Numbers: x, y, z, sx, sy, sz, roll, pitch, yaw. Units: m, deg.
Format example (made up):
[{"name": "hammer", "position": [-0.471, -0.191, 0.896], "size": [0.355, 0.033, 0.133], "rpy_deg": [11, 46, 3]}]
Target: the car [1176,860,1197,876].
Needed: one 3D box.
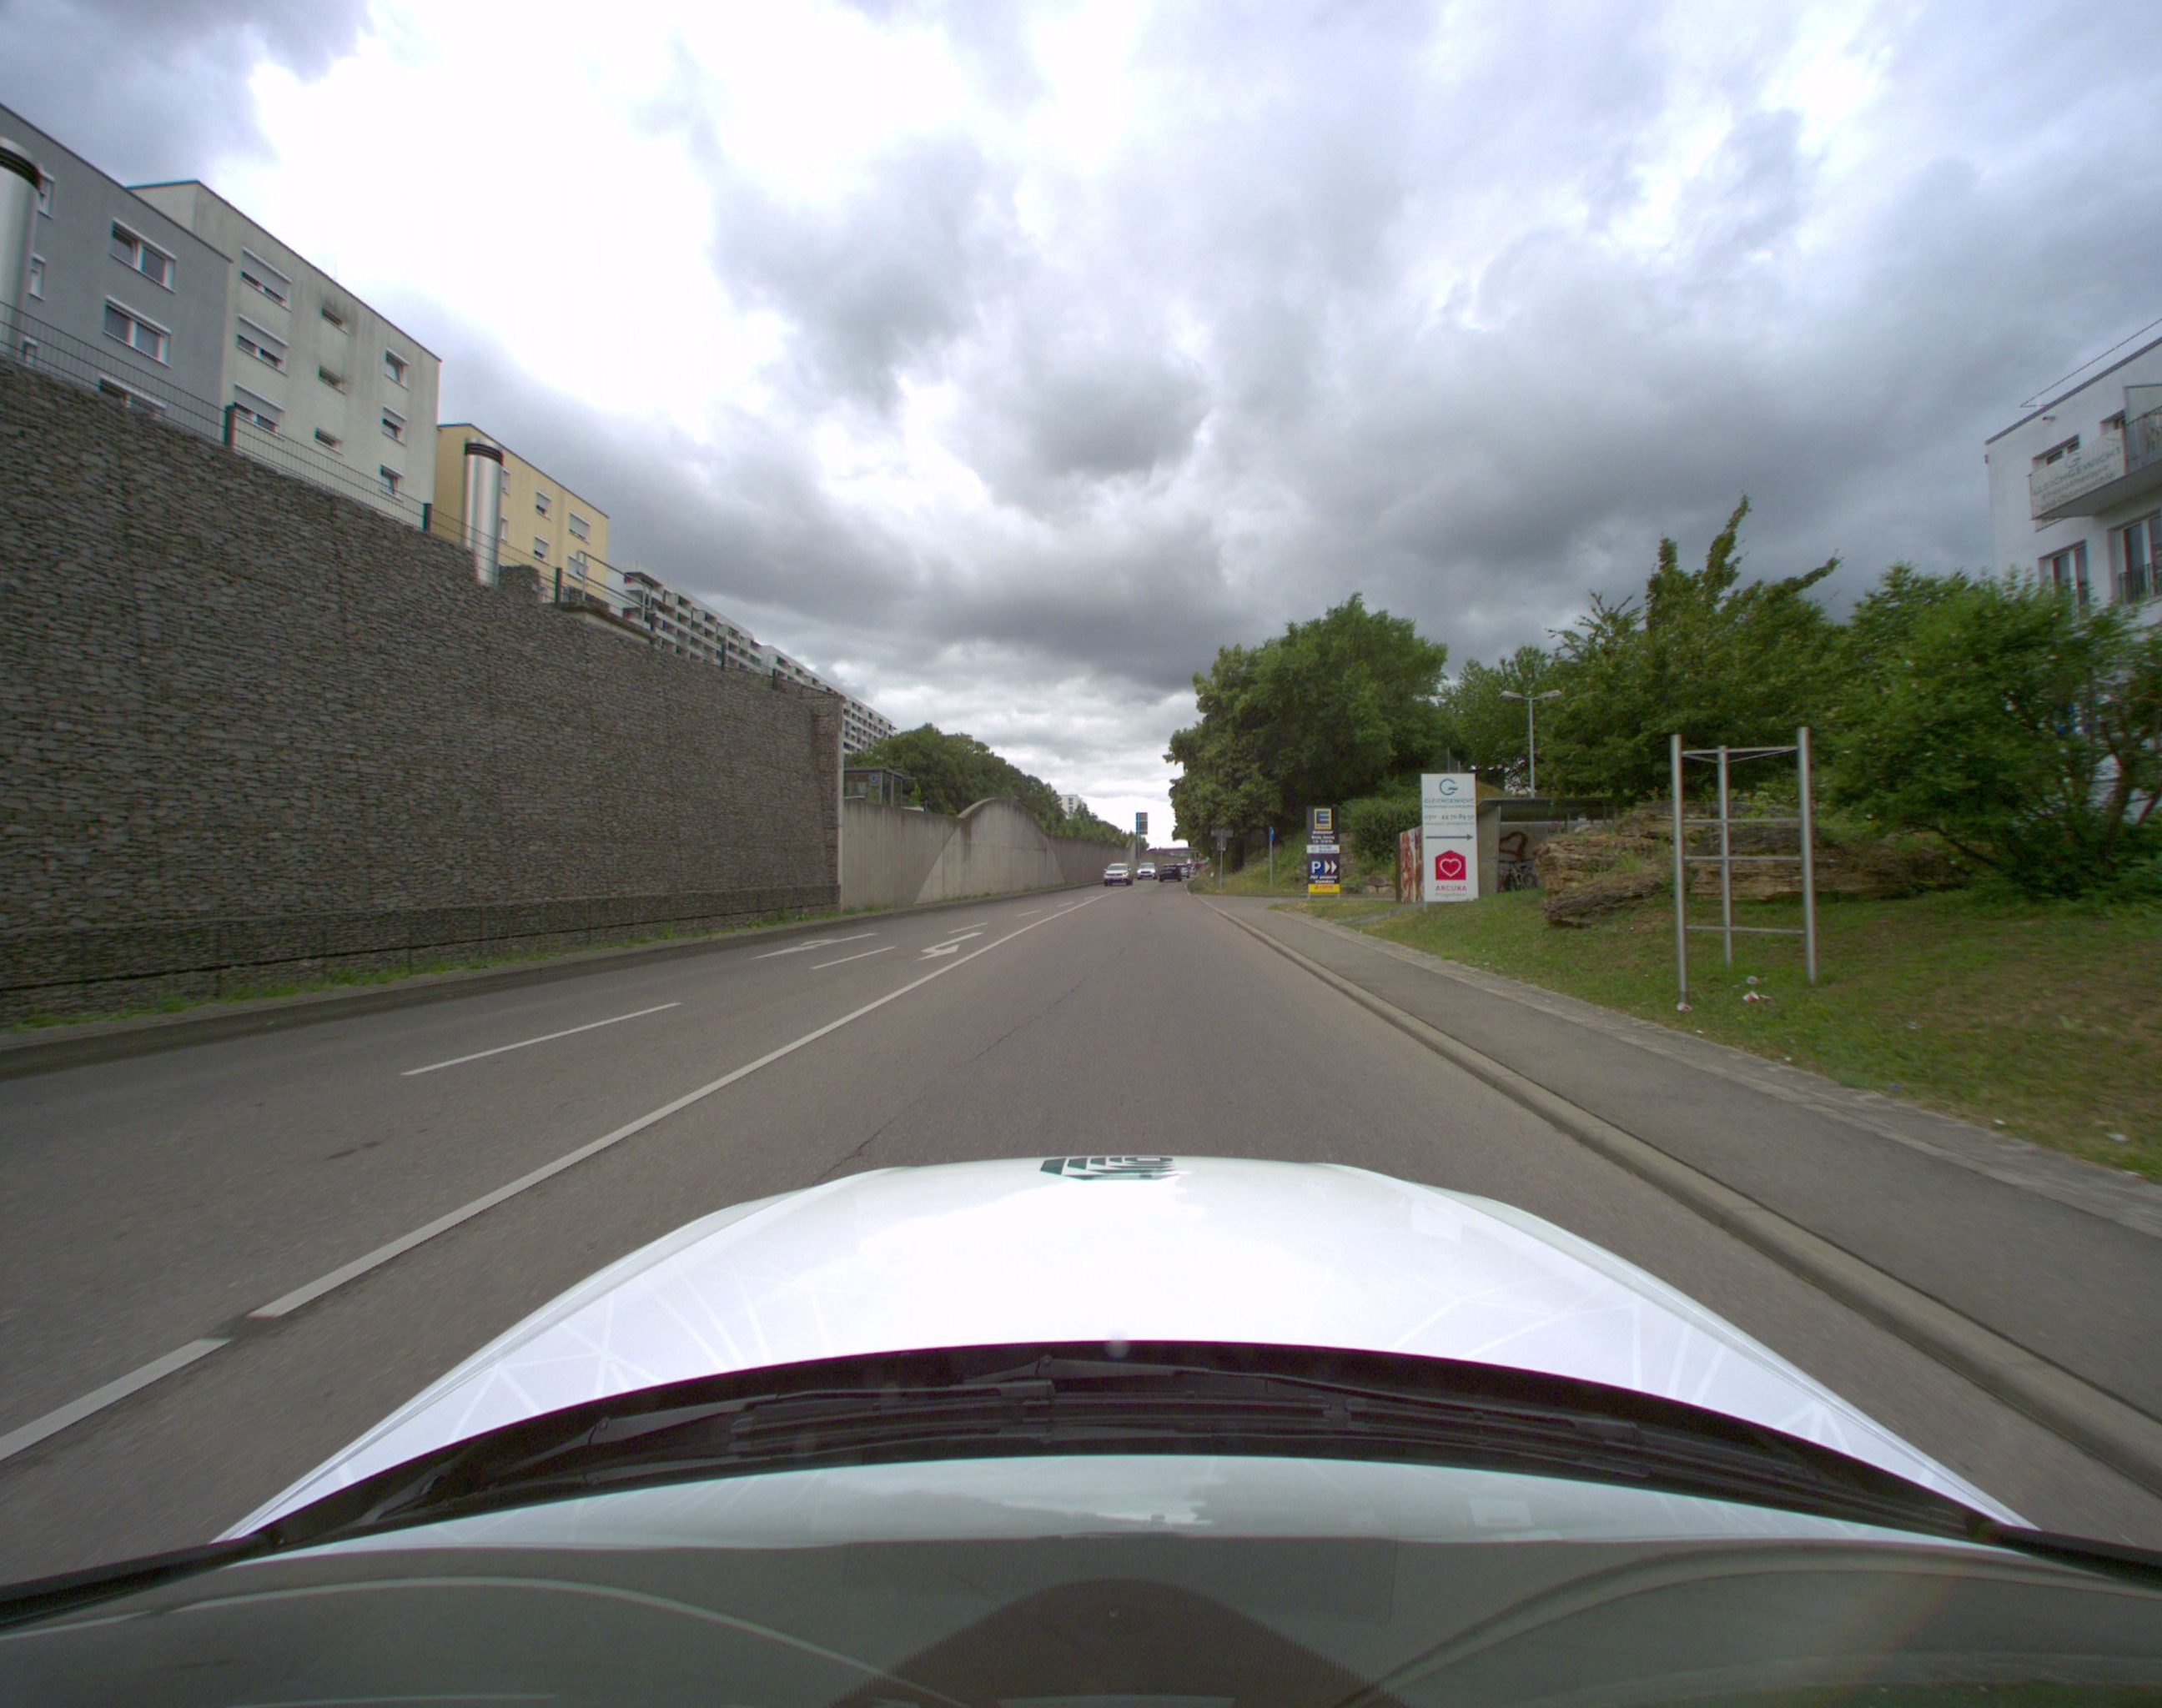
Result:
[{"name": "car", "position": [10.915, 1.459, 83.967], "size": [1.742, 1.523, 4.050], "rpy_deg": [1, -2, 13]}]

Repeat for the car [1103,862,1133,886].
[{"name": "car", "position": [2.719, 1.418, 59.376], "size": [1.852, 1.632, 4.216], "rpy_deg": [-1, -1, 7]}]

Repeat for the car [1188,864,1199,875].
[{"name": "car", "position": [18.033, 2.524, 130.743], "size": [1.744, 1.534, 4.263], "rpy_deg": [2, -2, 8]}]

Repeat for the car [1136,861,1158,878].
[{"name": "car", "position": [6.651, 1.557, 81.345], "size": [1.879, 1.632, 4.436], "rpy_deg": [-1, -1, 9]}]

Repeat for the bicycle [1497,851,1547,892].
[{"name": "bicycle", "position": [9.967, 0.383, 18.444], "size": [0.488, 0.875, 1.484], "rpy_deg": [-1, -1, 7]}]

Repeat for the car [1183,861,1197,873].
[{"name": "car", "position": [14.635, 1.782, 109.456], "size": [1.856, 1.490, 4.266], "rpy_deg": [1, -1, 8]}]

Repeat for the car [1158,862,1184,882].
[{"name": "car", "position": [7.568, 1.504, 68.051], "size": [1.743, 1.523, 4.048], "rpy_deg": [1, -2, 12]}]
